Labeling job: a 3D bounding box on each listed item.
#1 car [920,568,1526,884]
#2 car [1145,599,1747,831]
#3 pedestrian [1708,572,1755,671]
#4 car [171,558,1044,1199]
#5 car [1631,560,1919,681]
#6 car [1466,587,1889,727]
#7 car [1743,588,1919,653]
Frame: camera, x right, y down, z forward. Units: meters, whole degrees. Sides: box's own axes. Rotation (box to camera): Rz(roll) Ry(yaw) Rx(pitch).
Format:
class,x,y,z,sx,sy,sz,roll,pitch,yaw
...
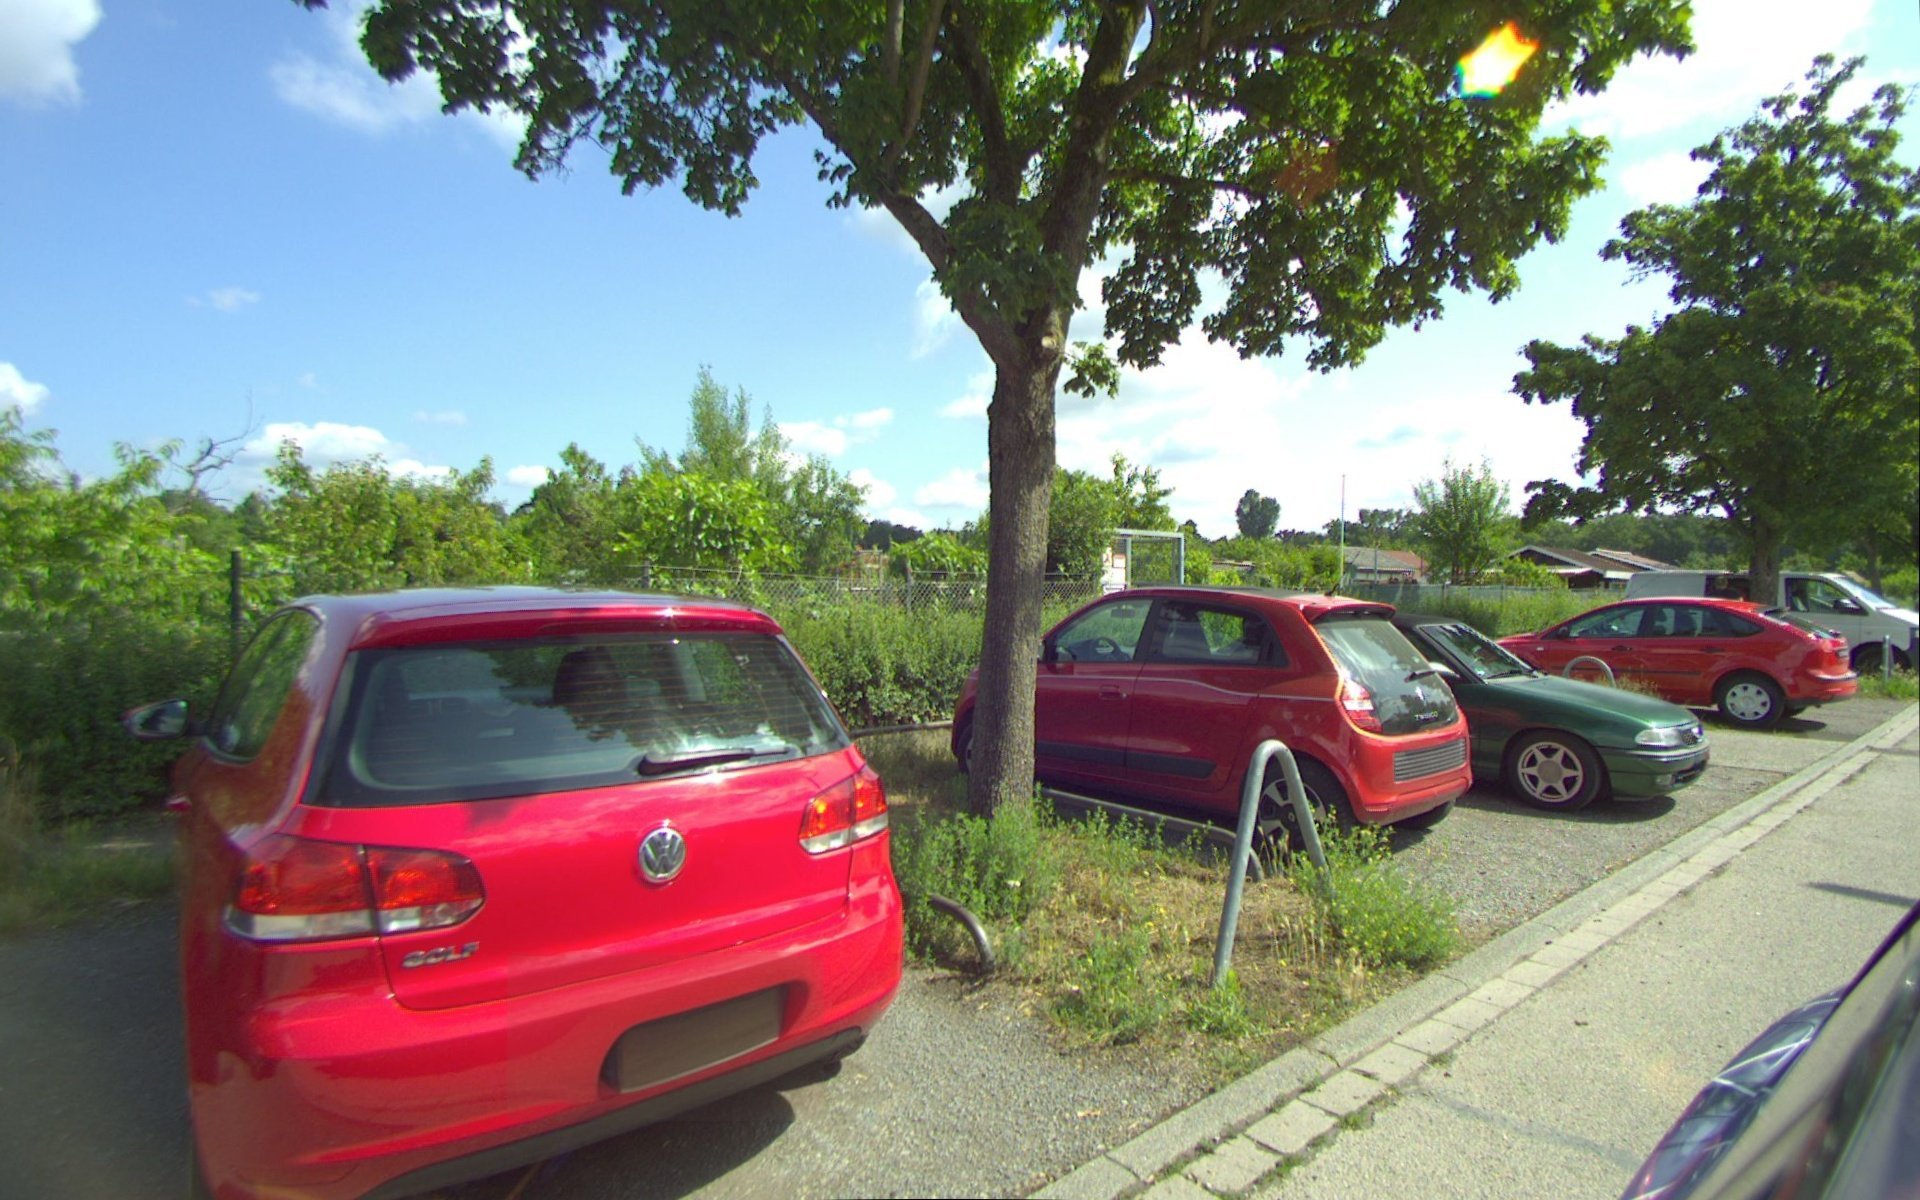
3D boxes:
class,x,y,z,sx,sy,sz,roll,pitch,yaw
car,1.606,0.634,7.140,1.837,1.593,3.770,-1,0,-41
car,3.870,0.743,8.604,1.877,1.446,4.241,-1,0,-44
pedestrian,13.574,0.362,17.809,0.465,1.694,0.524,-2,3,-40
car,-1.702,0.703,3.744,1.820,1.539,3.998,-1,0,-37
car,15.001,0.278,18.068,2.075,1.910,4.642,0,2,-42
car,9.200,0.626,13.290,1.844,1.523,4.192,-1,0,-39
car,22.015,0.459,24.536,1.967,1.484,4.582,0,1,-43
